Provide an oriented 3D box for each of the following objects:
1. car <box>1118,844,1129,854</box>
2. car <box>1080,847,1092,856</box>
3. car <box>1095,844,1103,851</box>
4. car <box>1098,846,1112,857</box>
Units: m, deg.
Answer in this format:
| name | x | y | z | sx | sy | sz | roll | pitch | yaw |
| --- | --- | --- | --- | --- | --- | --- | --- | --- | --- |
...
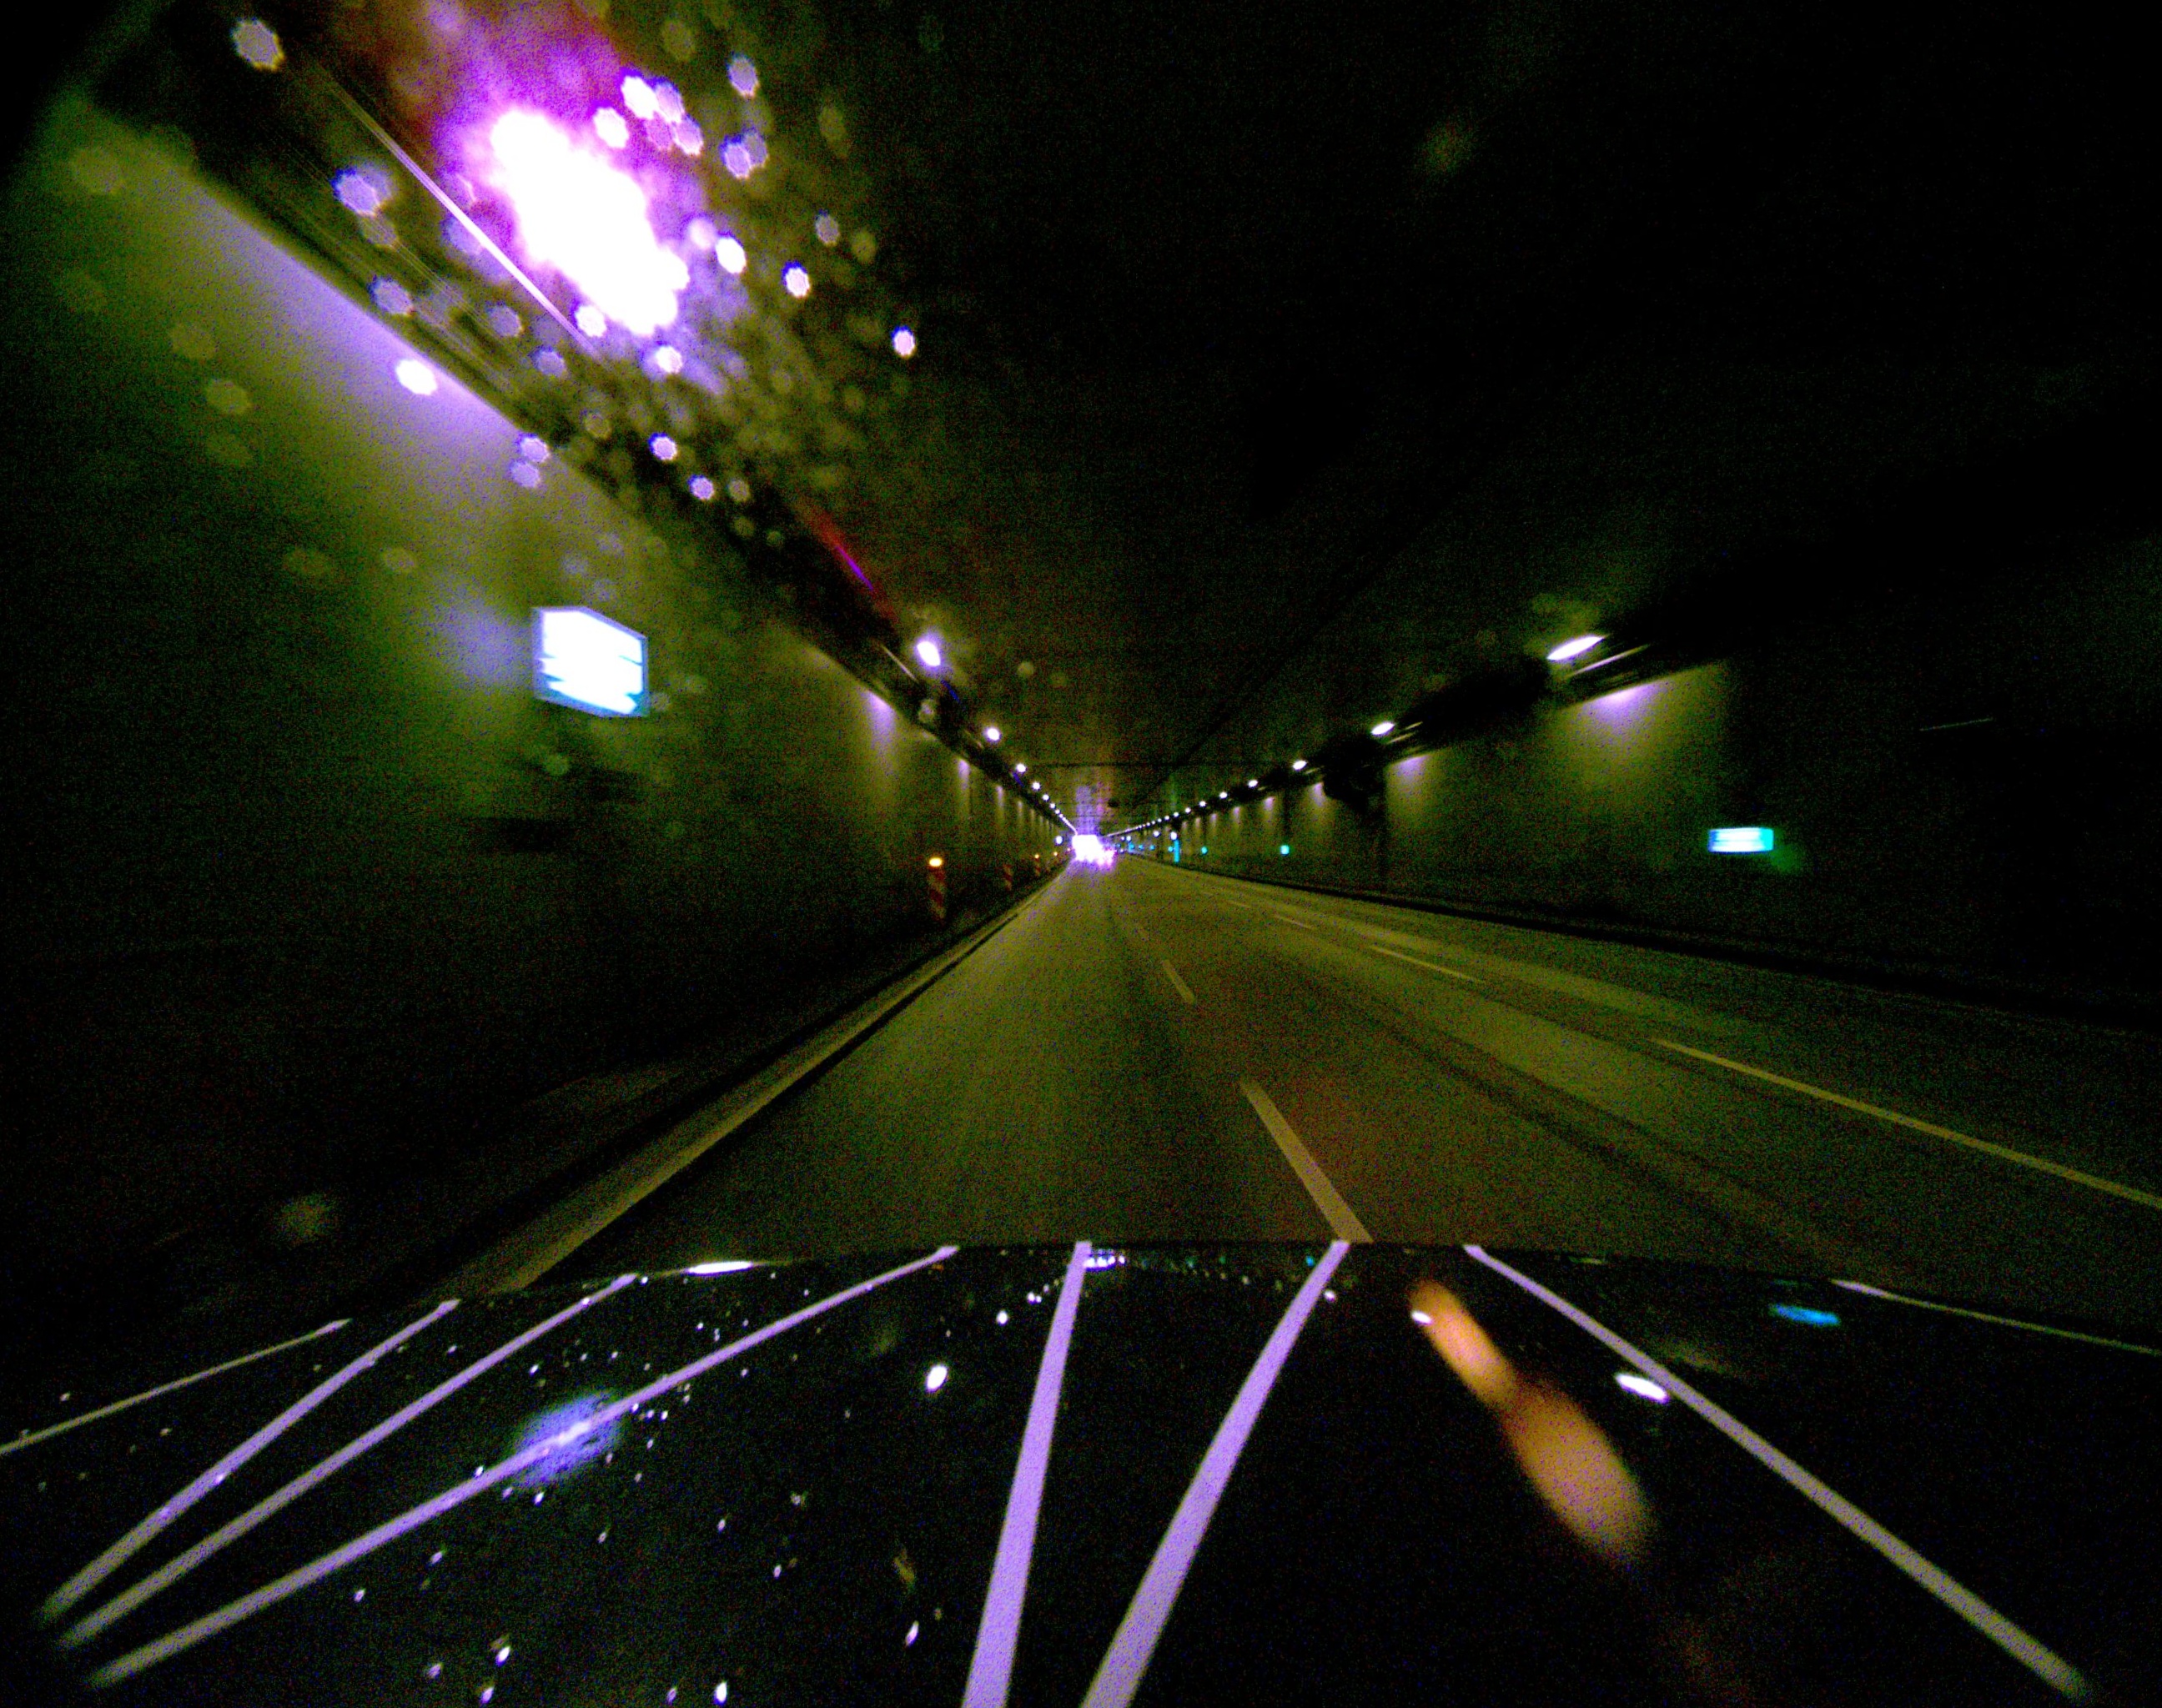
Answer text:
| name | x | y | z | sx | sy | sz | roll | pitch | yaw |
| --- | --- | --- | --- | --- | --- | --- | --- | --- | --- |
| car | 7.986 | -0.944 | 142.795 | 1.998 | 1.685 | 4.000 | -1 | 0 | 1 |
| car | 0.898 | -0.468 | 138.429 | 1.998 | 1.686 | 3.999 | -2 | 1 | 1 |
| car | 5.014 | -1.809 | 214.012 | 1.998 | 1.756 | 3.999 | -2 | 1 | 1 |
| car | 3.807 | -0.416 | 119.724 | 1.998 | 1.686 | 4.000 | -2 | 0 | 0 |
